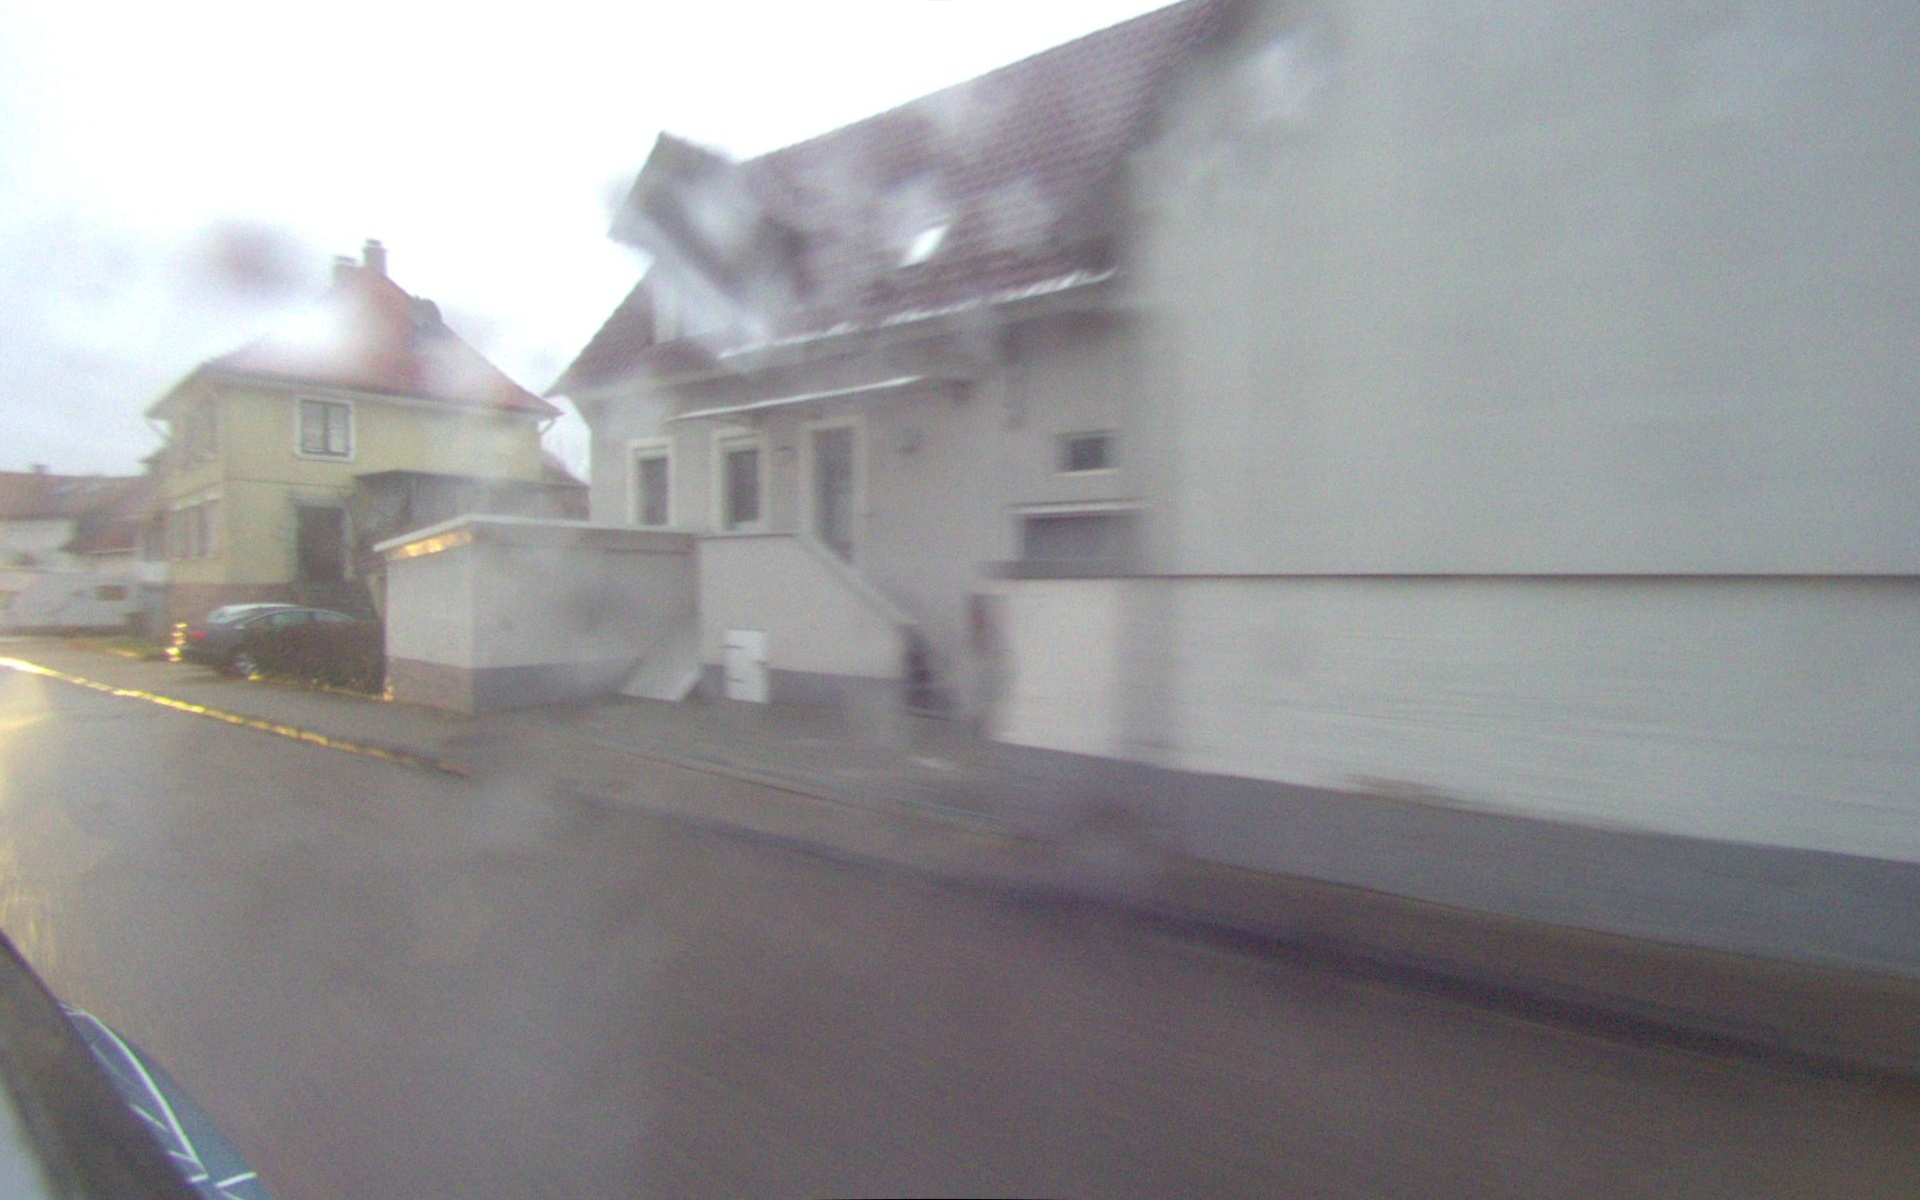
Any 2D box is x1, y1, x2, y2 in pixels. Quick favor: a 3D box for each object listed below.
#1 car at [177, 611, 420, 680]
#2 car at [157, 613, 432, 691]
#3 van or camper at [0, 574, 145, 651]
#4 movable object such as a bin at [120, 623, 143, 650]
[{"bbox_3d":[-15.638,1.014,24.091,1.893,1.481,4.551,-1,-1,45],"label":"car"},{"bbox_3d":[-14.071,1.020,21.627,1.999,1.481,4.546,-1,-1,41],"label":"car"},{"bbox_3d":[-36.916,0.556,40.727,2.321,2.964,5.999,-1,-3,38],"label":"van or camper"},{"bbox_3d":[-31.585,1.388,38.594,0.581,1.028,0.609,-1,0,44],"label":"movable object such as a bin"}]
